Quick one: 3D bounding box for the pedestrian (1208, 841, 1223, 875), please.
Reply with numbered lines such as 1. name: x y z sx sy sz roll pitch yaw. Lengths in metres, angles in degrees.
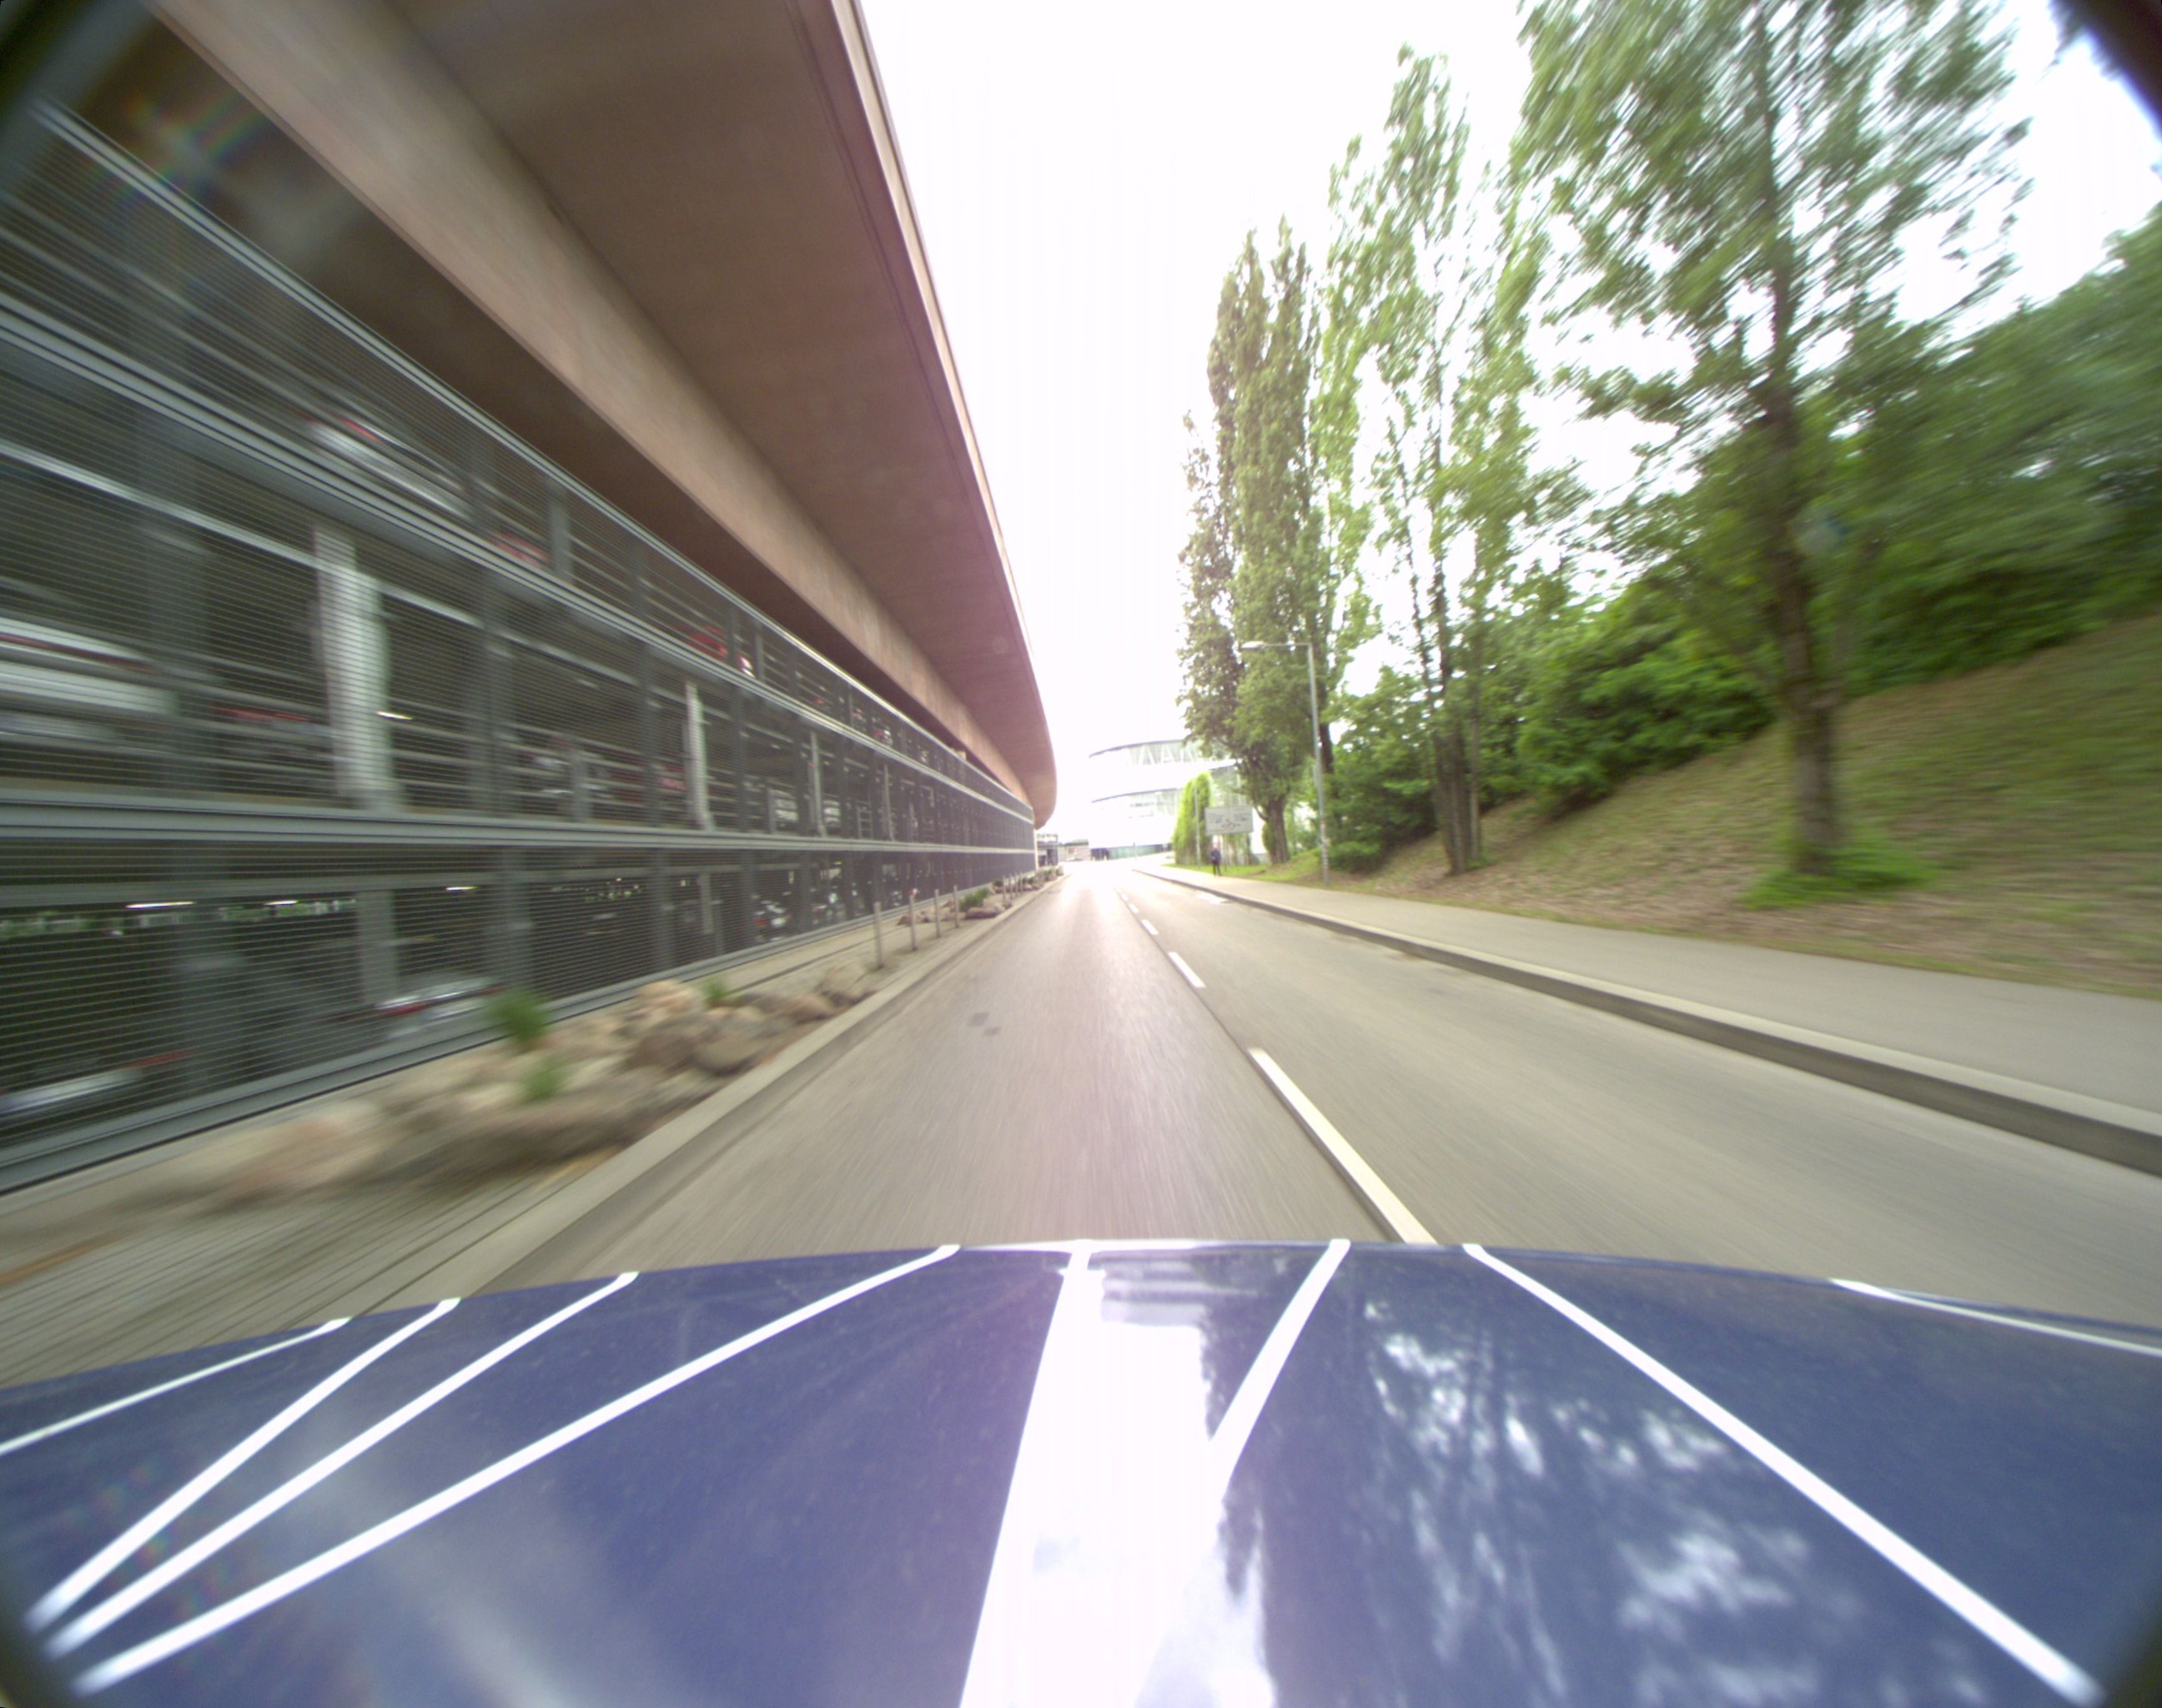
1. pedestrian: 7.789 0.226 43.962 0.662 1.883 0.736 -2 1 0
